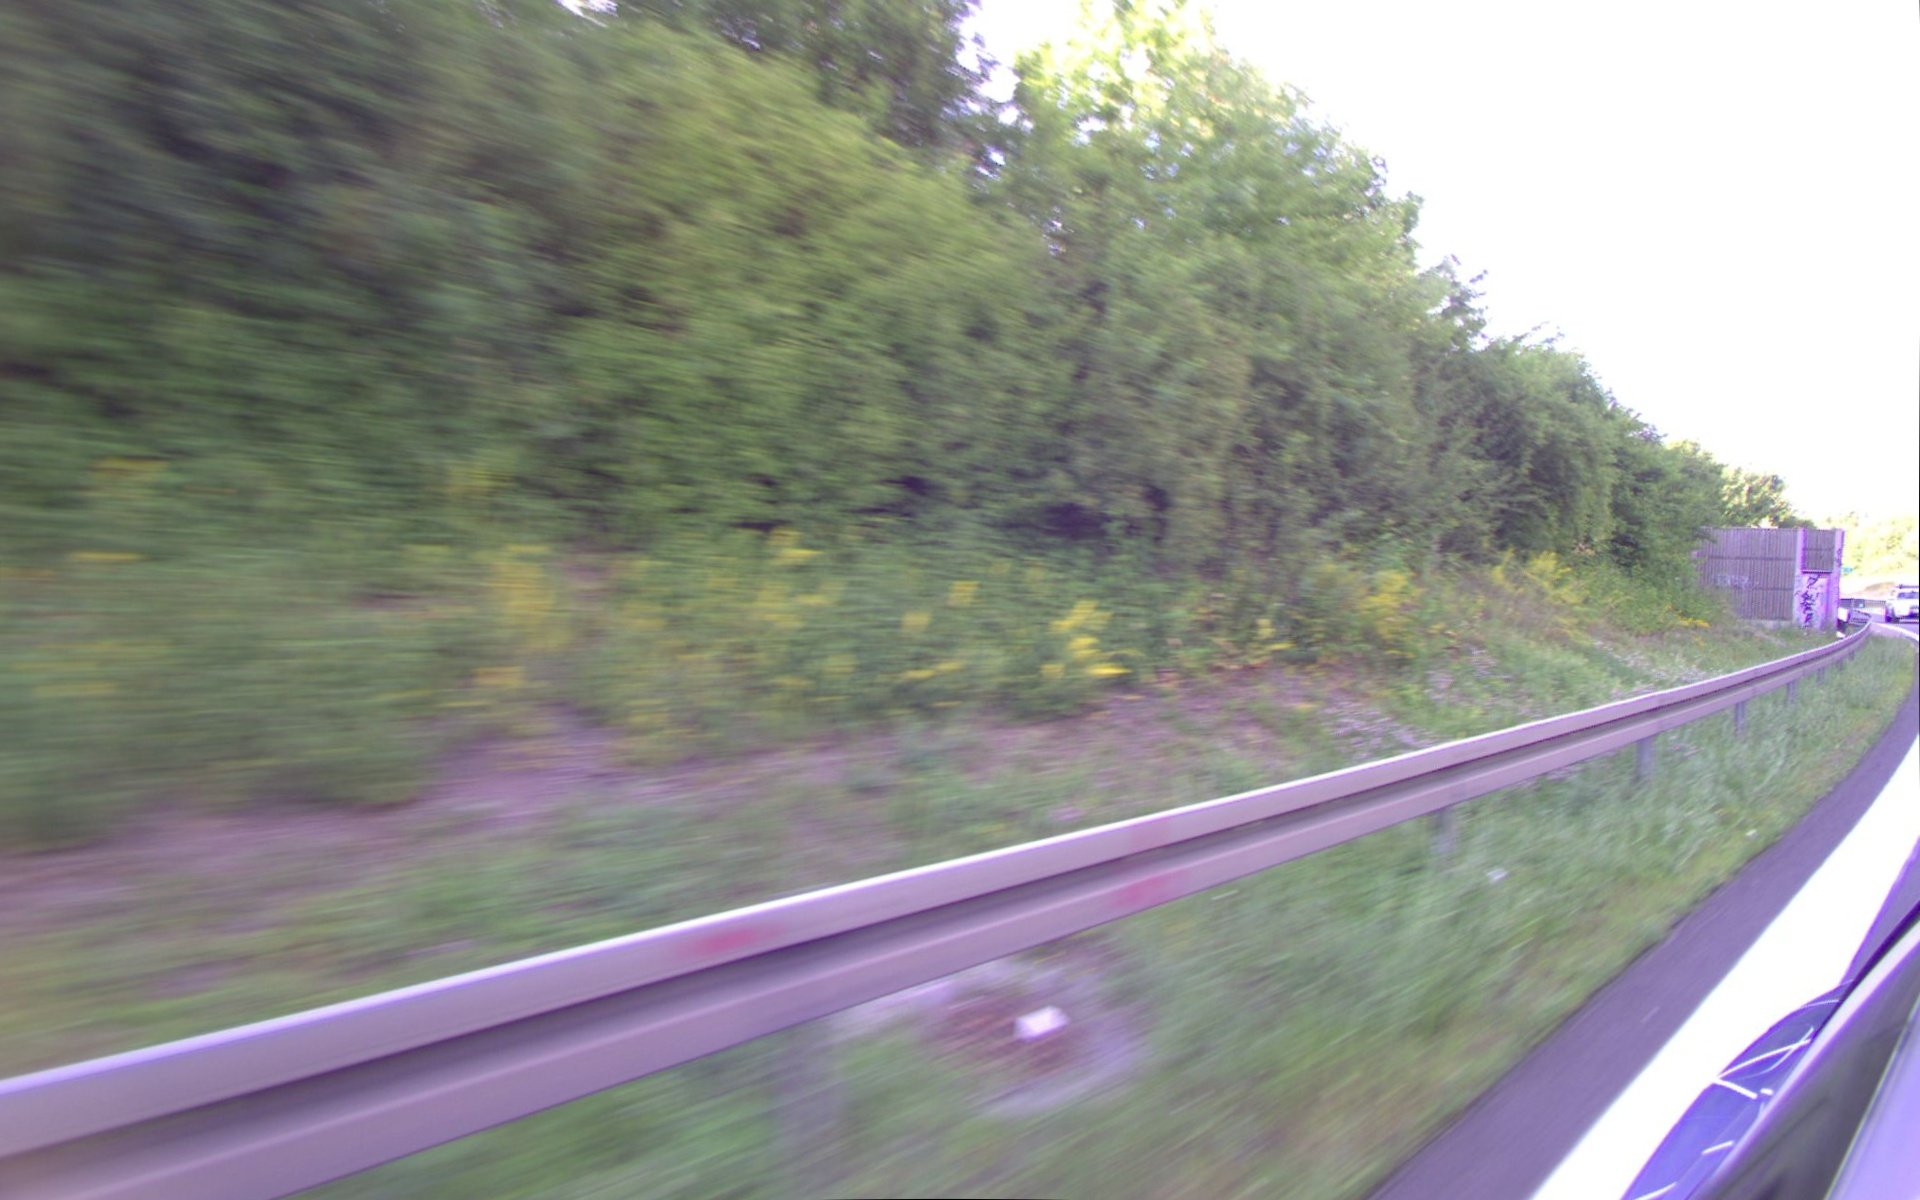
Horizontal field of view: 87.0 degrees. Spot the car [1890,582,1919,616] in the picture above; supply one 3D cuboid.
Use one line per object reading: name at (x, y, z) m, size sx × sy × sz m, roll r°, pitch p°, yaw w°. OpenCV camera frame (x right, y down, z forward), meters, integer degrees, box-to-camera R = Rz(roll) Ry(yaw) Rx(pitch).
car at (49.398, -0.058, 51.891) m, size 1.893 × 1.686 × 3.952 m, roll 0°, pitch 0°, yaw 34°
